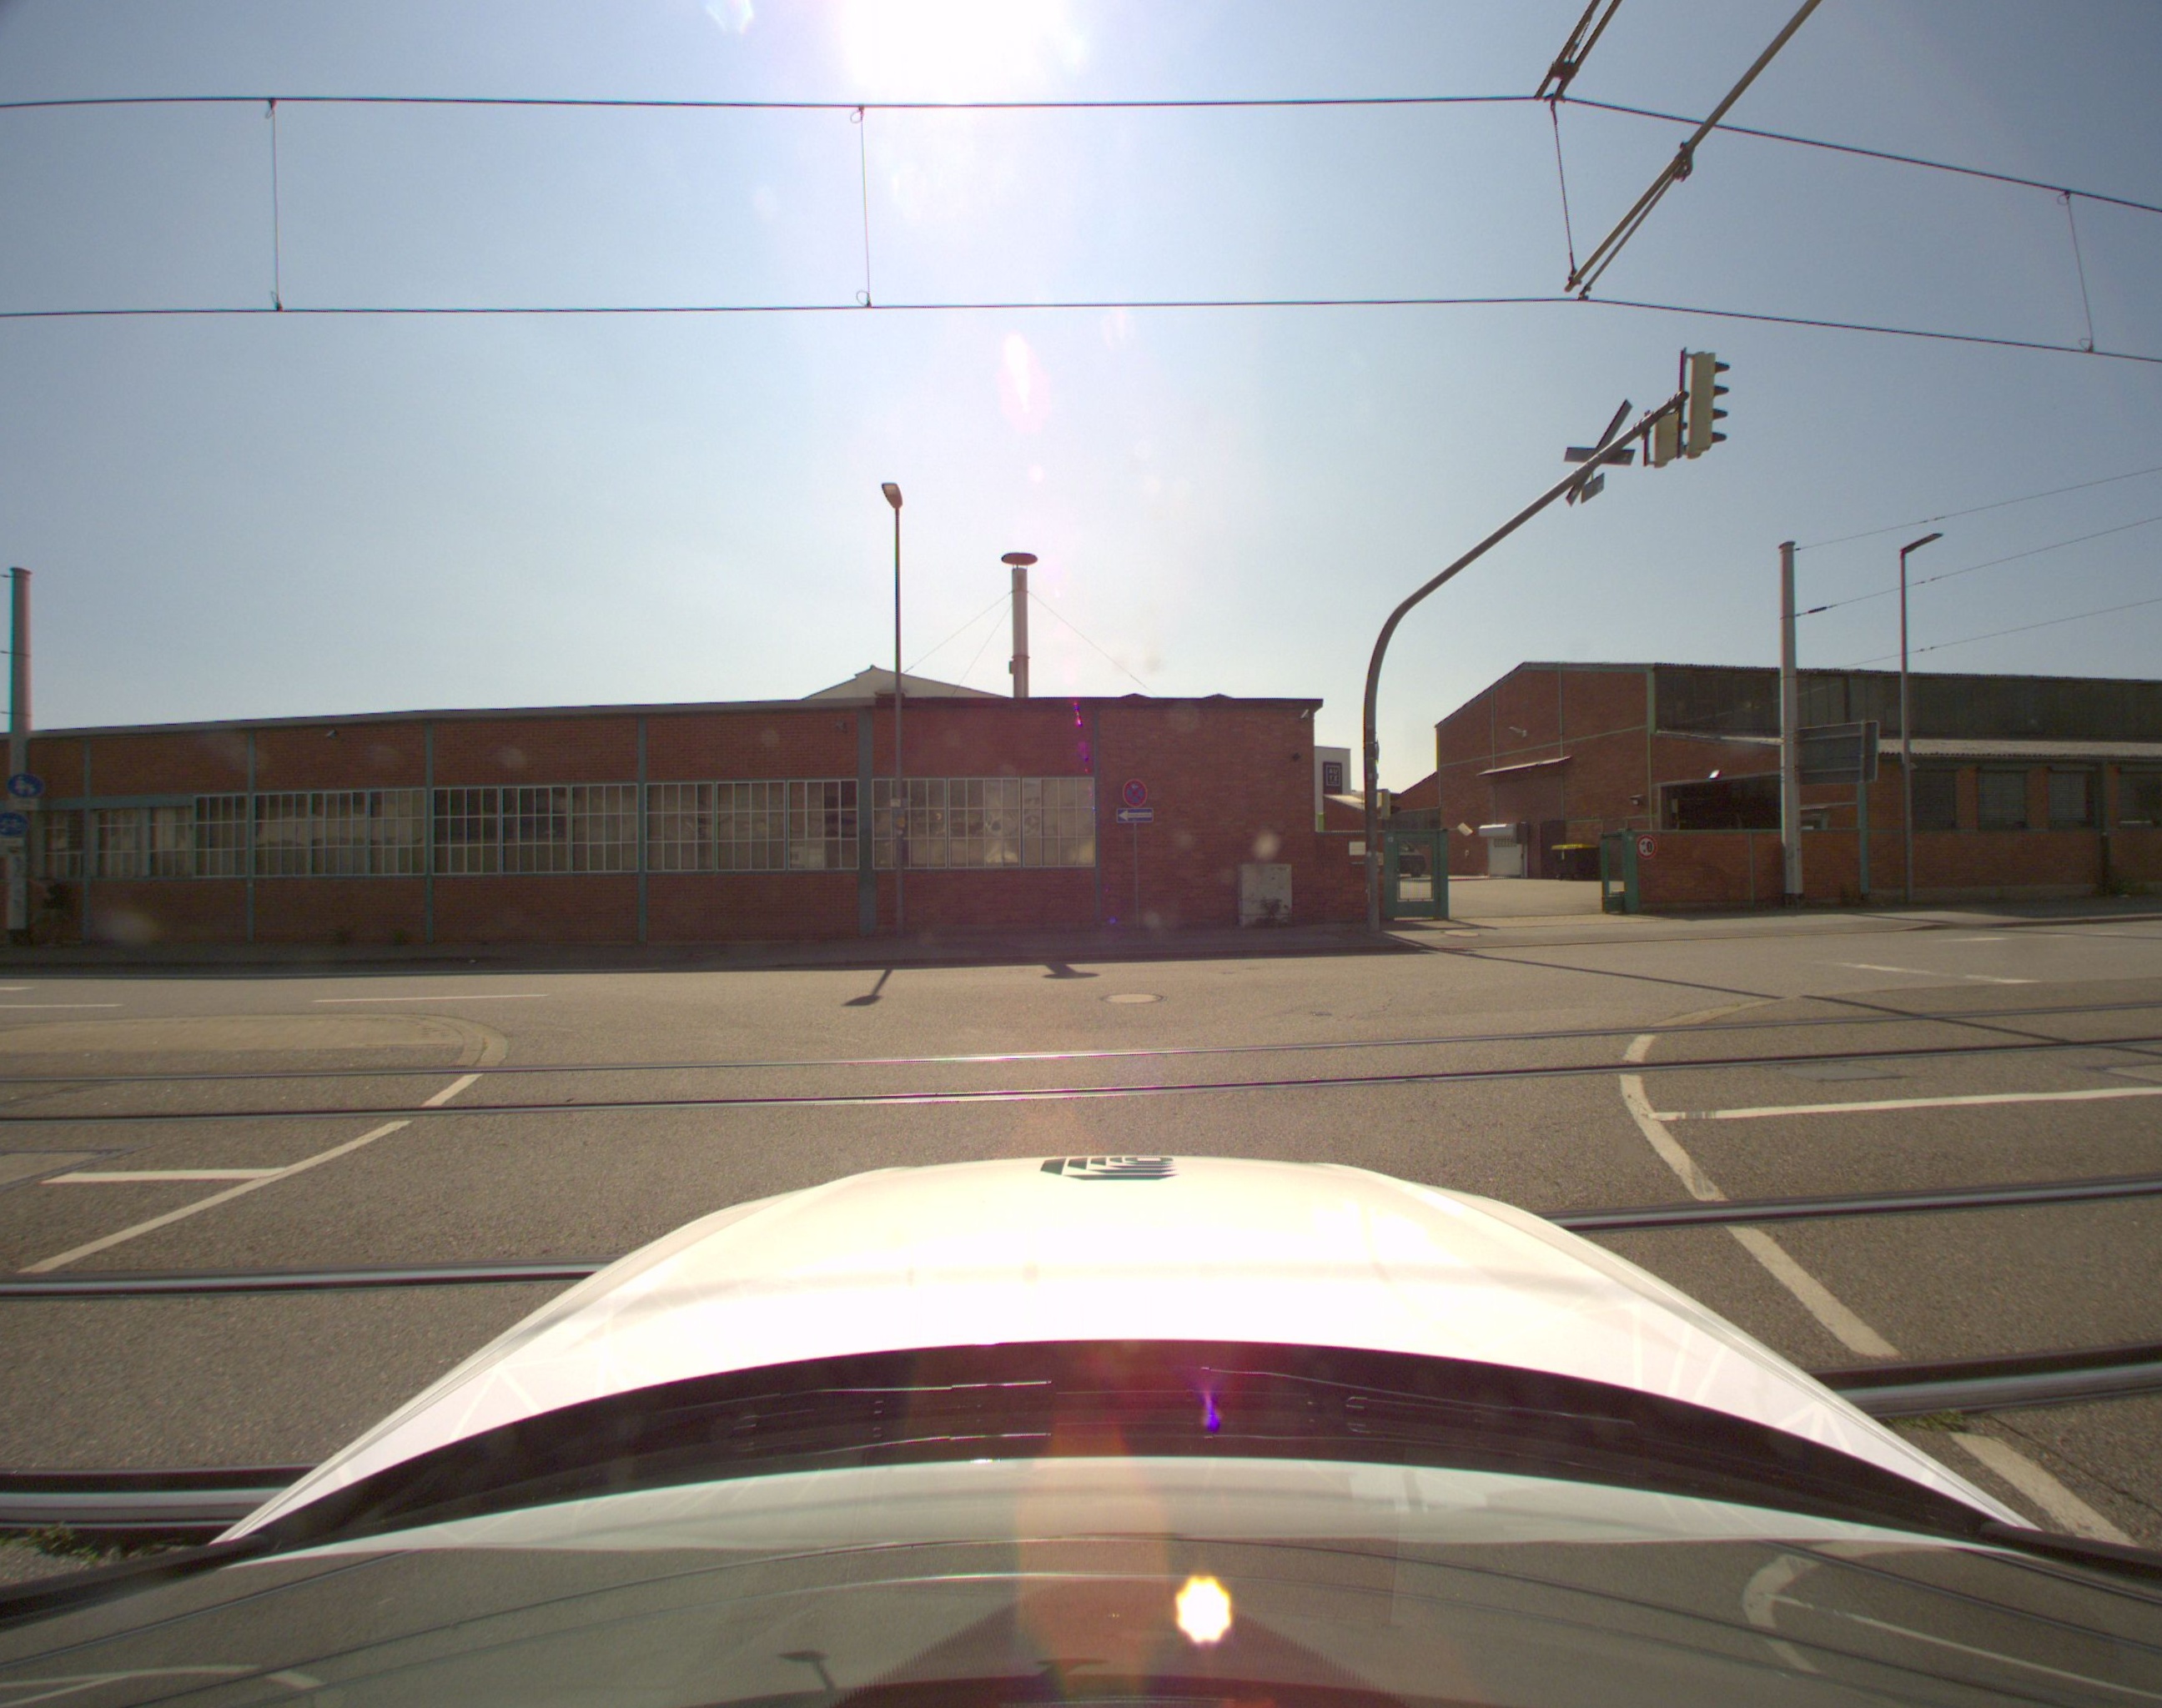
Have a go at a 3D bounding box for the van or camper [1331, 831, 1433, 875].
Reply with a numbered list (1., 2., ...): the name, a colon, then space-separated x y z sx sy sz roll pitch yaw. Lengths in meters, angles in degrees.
1. van or camper: 14.056 -0.020 37.994 4.432 1.900 1.982 2 -1 -28

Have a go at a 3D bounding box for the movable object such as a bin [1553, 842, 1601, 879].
1. movable object such as a bin: 18.235 0.244 29.965 0.974 1.314 1.149 -2 0 -9

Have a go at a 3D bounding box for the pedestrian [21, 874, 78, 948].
1. pedestrian: -25.082 1.369 19.815 0.445 1.765 0.688 1 -1 12
